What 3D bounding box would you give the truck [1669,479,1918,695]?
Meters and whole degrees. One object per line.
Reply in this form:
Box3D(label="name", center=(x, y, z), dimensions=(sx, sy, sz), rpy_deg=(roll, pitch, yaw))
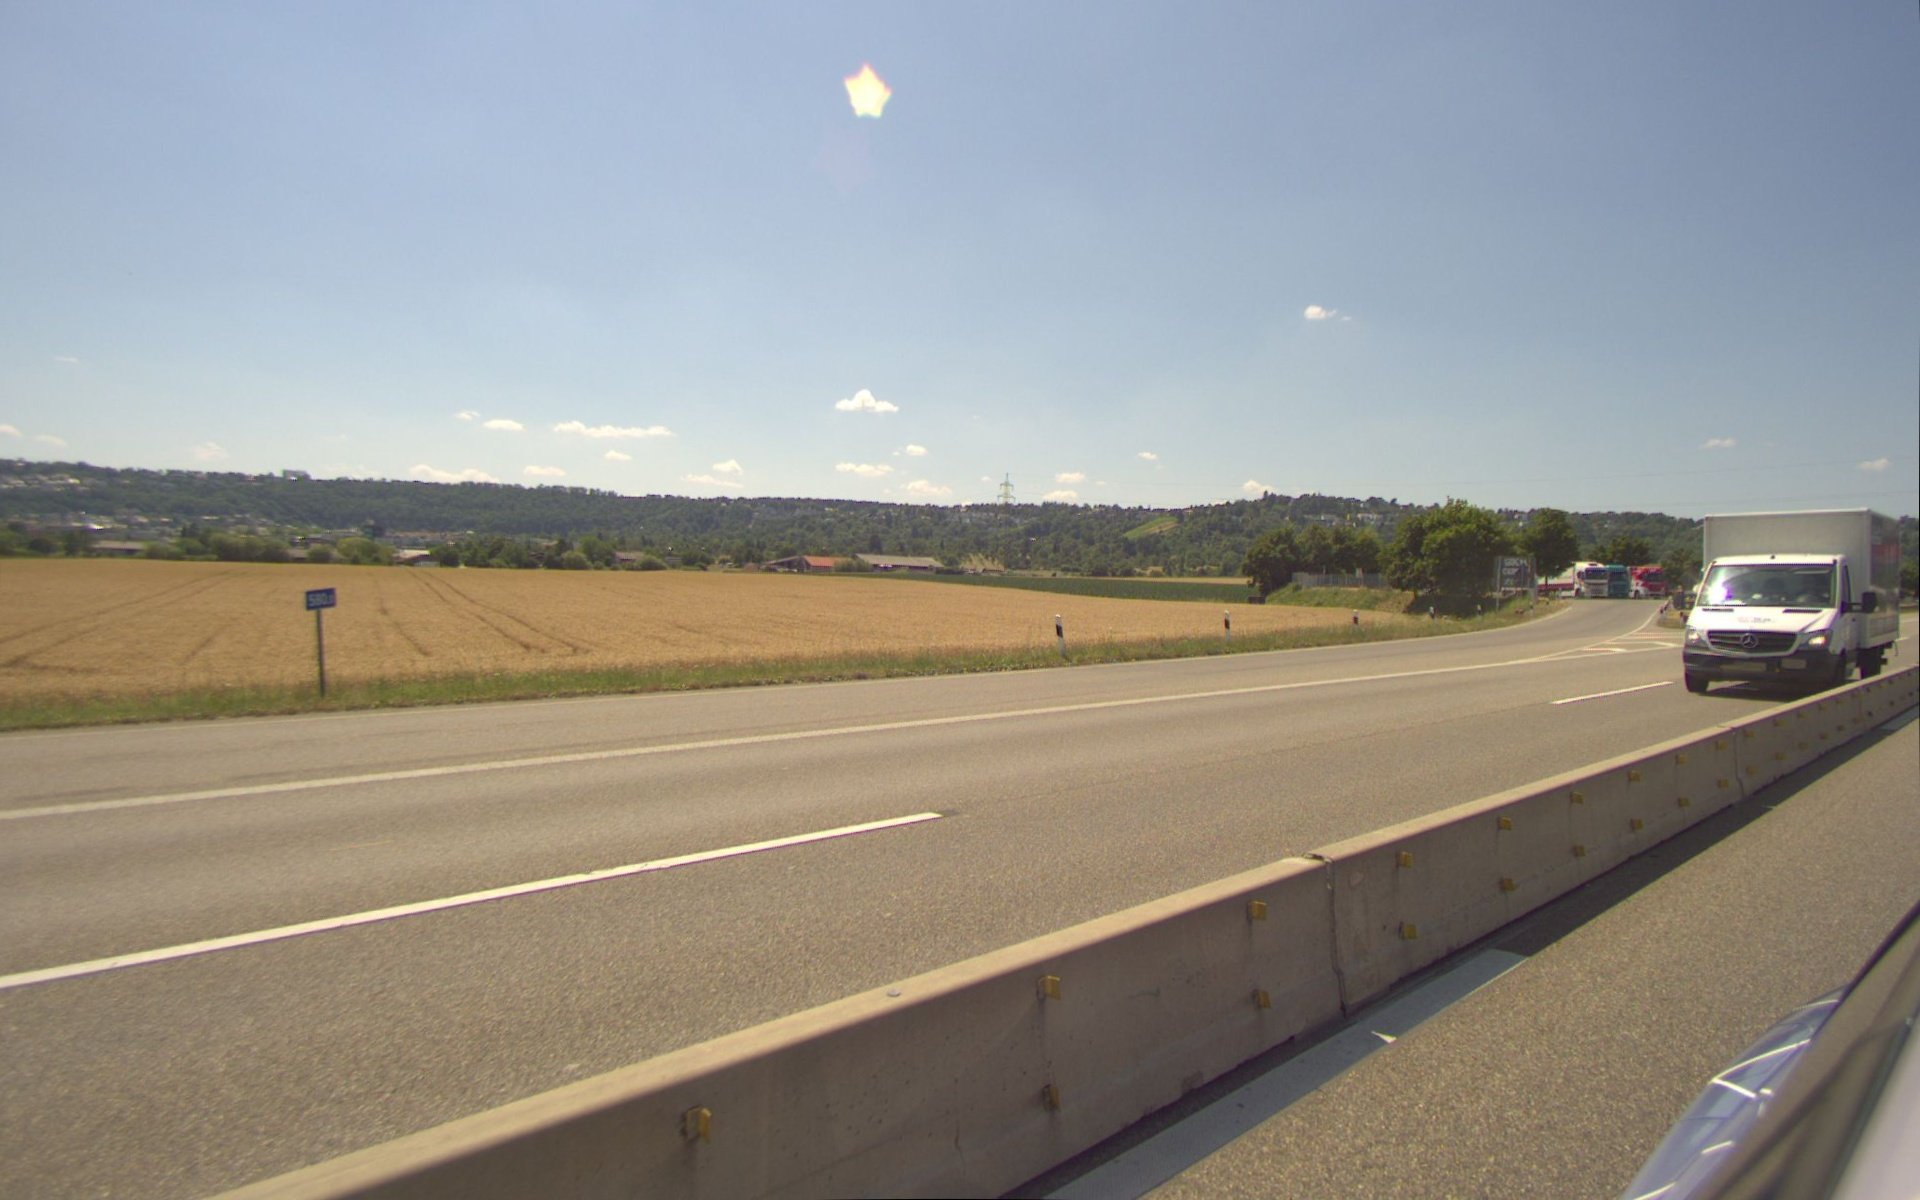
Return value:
Box3D(label="truck", center=(14.668, -0.164, 17.611), dimensions=(6.632, 3.106, 2.324), rpy_deg=(1, -1, -41))
